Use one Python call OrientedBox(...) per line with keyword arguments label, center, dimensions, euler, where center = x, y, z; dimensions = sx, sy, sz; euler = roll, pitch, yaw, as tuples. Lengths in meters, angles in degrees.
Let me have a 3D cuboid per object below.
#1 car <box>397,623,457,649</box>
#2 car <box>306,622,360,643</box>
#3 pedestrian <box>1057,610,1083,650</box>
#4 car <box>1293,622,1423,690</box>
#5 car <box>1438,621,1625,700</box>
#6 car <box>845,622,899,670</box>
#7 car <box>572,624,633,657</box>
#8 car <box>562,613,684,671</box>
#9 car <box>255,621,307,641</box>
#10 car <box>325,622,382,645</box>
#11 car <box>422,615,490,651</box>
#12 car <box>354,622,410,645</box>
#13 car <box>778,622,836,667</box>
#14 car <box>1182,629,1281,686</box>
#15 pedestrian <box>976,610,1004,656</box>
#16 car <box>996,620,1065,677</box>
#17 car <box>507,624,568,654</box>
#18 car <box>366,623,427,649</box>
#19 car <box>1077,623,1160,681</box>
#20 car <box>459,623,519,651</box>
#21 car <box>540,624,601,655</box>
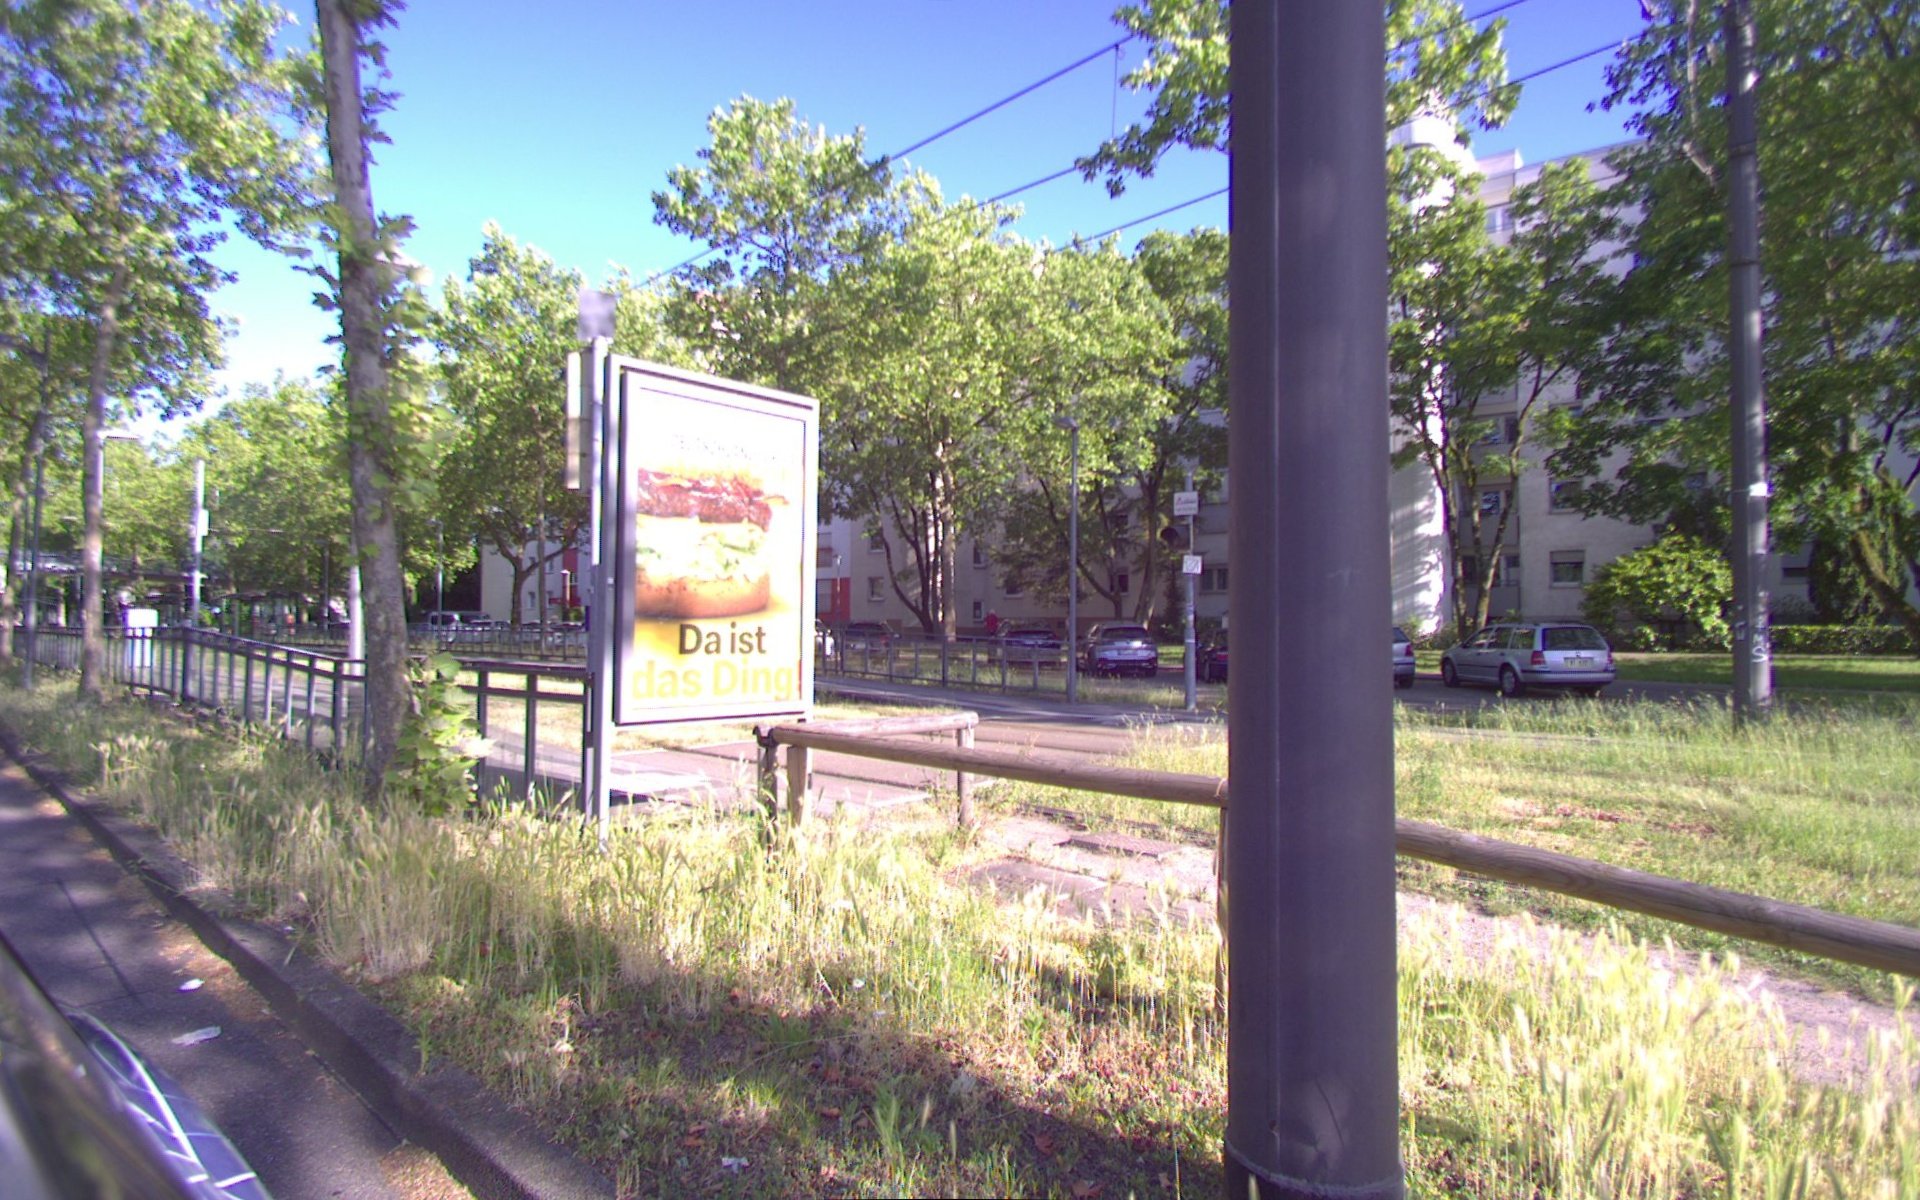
OrientedBox(label="car", center=(-31.314, 2.088, 59.601), dimensions=(1.633, 1.452, 3.805), euler=(-1, -1, -2))
OrientedBox(label="car", center=(-44.961, 2.293, 72.684), dimensions=(1.633, 1.452, 3.805), euler=(-1, -1, -2))
OrientedBox(label="pedestrian", center=(4.549, 1.231, 41.884), dimensions=(0.786, 1.635, 0.755), euler=(-1, 0, 39))
OrientedBox(label="car", center=(9.158, 1.241, 23.591), dimensions=(1.559, 1.413, 3.638), euler=(-1, -1, 0))
OrientedBox(label="car", center=(11.489, 1.164, 20.665), dimensions=(1.559, 1.413, 3.906), euler=(-1, -1, 0))
OrientedBox(label="car", center=(-2.960, 1.530, 34.650), dimensions=(1.633, 1.522, 3.805), euler=(-1, -1, -2))
OrientedBox(label="car", center=(-16.609, 1.859, 47.161), dimensions=(1.633, 1.452, 3.805), euler=(-1, -1, -2))
OrientedBox(label="car", center=(-11.651, 1.411, 34.835), dimensions=(4.901, 1.835, 1.808), euler=(-2, -1, 42))
OrientedBox(label="car", center=(-53.031, 2.408, 79.157), dimensions=(1.633, 1.452, 3.805), euler=(-1, -1, -2))
OrientedBox(label="car", center=(-40.820, 2.232, 68.195), dimensions=(1.633, 1.452, 3.805), euler=(-1, -1, -2))
OrientedBox(label="car", center=(-28.435, 1.829, 57.256), dimensions=(1.814, 1.888, 4.323), euler=(-1, -1, -2))
OrientedBox(label="car", center=(-37.866, 2.178, 66.381), dimensions=(1.633, 1.452, 3.805), euler=(-1, -1, -2))
OrientedBox(label="car", center=(-5.549, 1.573, 37.019), dimensions=(1.633, 1.522, 3.805), euler=(-1, -1, -2))
OrientedBox(label="car", center=(6.690, 1.381, 25.277), dimensions=(1.445, 1.234, 3.815), euler=(-1, -1, 0))
OrientedBox(label="pedestrian", center=(1.153, 1.276, 39.174), dimensions=(0.786, 1.745, 0.755), euler=(-1, 0, 39))
OrientedBox(label="car", center=(1.999, 1.358, 29.667), dimensions=(1.633, 1.522, 3.805), euler=(-1, -1, -2))
OrientedBox(label="car", center=(-21.320, 1.944, 51.185), dimensions=(1.633, 1.452, 3.805), euler=(-1, -1, -2))
OrientedBox(label="car", center=(-33.676, 2.119, 60.605), dimensions=(1.633, 1.452, 3.805), euler=(-1, -1, -2))
OrientedBox(label="car", center=(4.233, 1.368, 27.520), dimensions=(1.633, 1.413, 3.803), euler=(-1, -1, 0))
OrientedBox(label="car", center=(-25.853, 2.004, 55.662), dimensions=(1.633, 1.452, 3.805), euler=(-1, -1, -2))
OrientedBox(label="car", center=(-19.028, 1.901, 49.542), dimensions=(1.633, 1.452, 3.805), euler=(-1, -1, -2))
